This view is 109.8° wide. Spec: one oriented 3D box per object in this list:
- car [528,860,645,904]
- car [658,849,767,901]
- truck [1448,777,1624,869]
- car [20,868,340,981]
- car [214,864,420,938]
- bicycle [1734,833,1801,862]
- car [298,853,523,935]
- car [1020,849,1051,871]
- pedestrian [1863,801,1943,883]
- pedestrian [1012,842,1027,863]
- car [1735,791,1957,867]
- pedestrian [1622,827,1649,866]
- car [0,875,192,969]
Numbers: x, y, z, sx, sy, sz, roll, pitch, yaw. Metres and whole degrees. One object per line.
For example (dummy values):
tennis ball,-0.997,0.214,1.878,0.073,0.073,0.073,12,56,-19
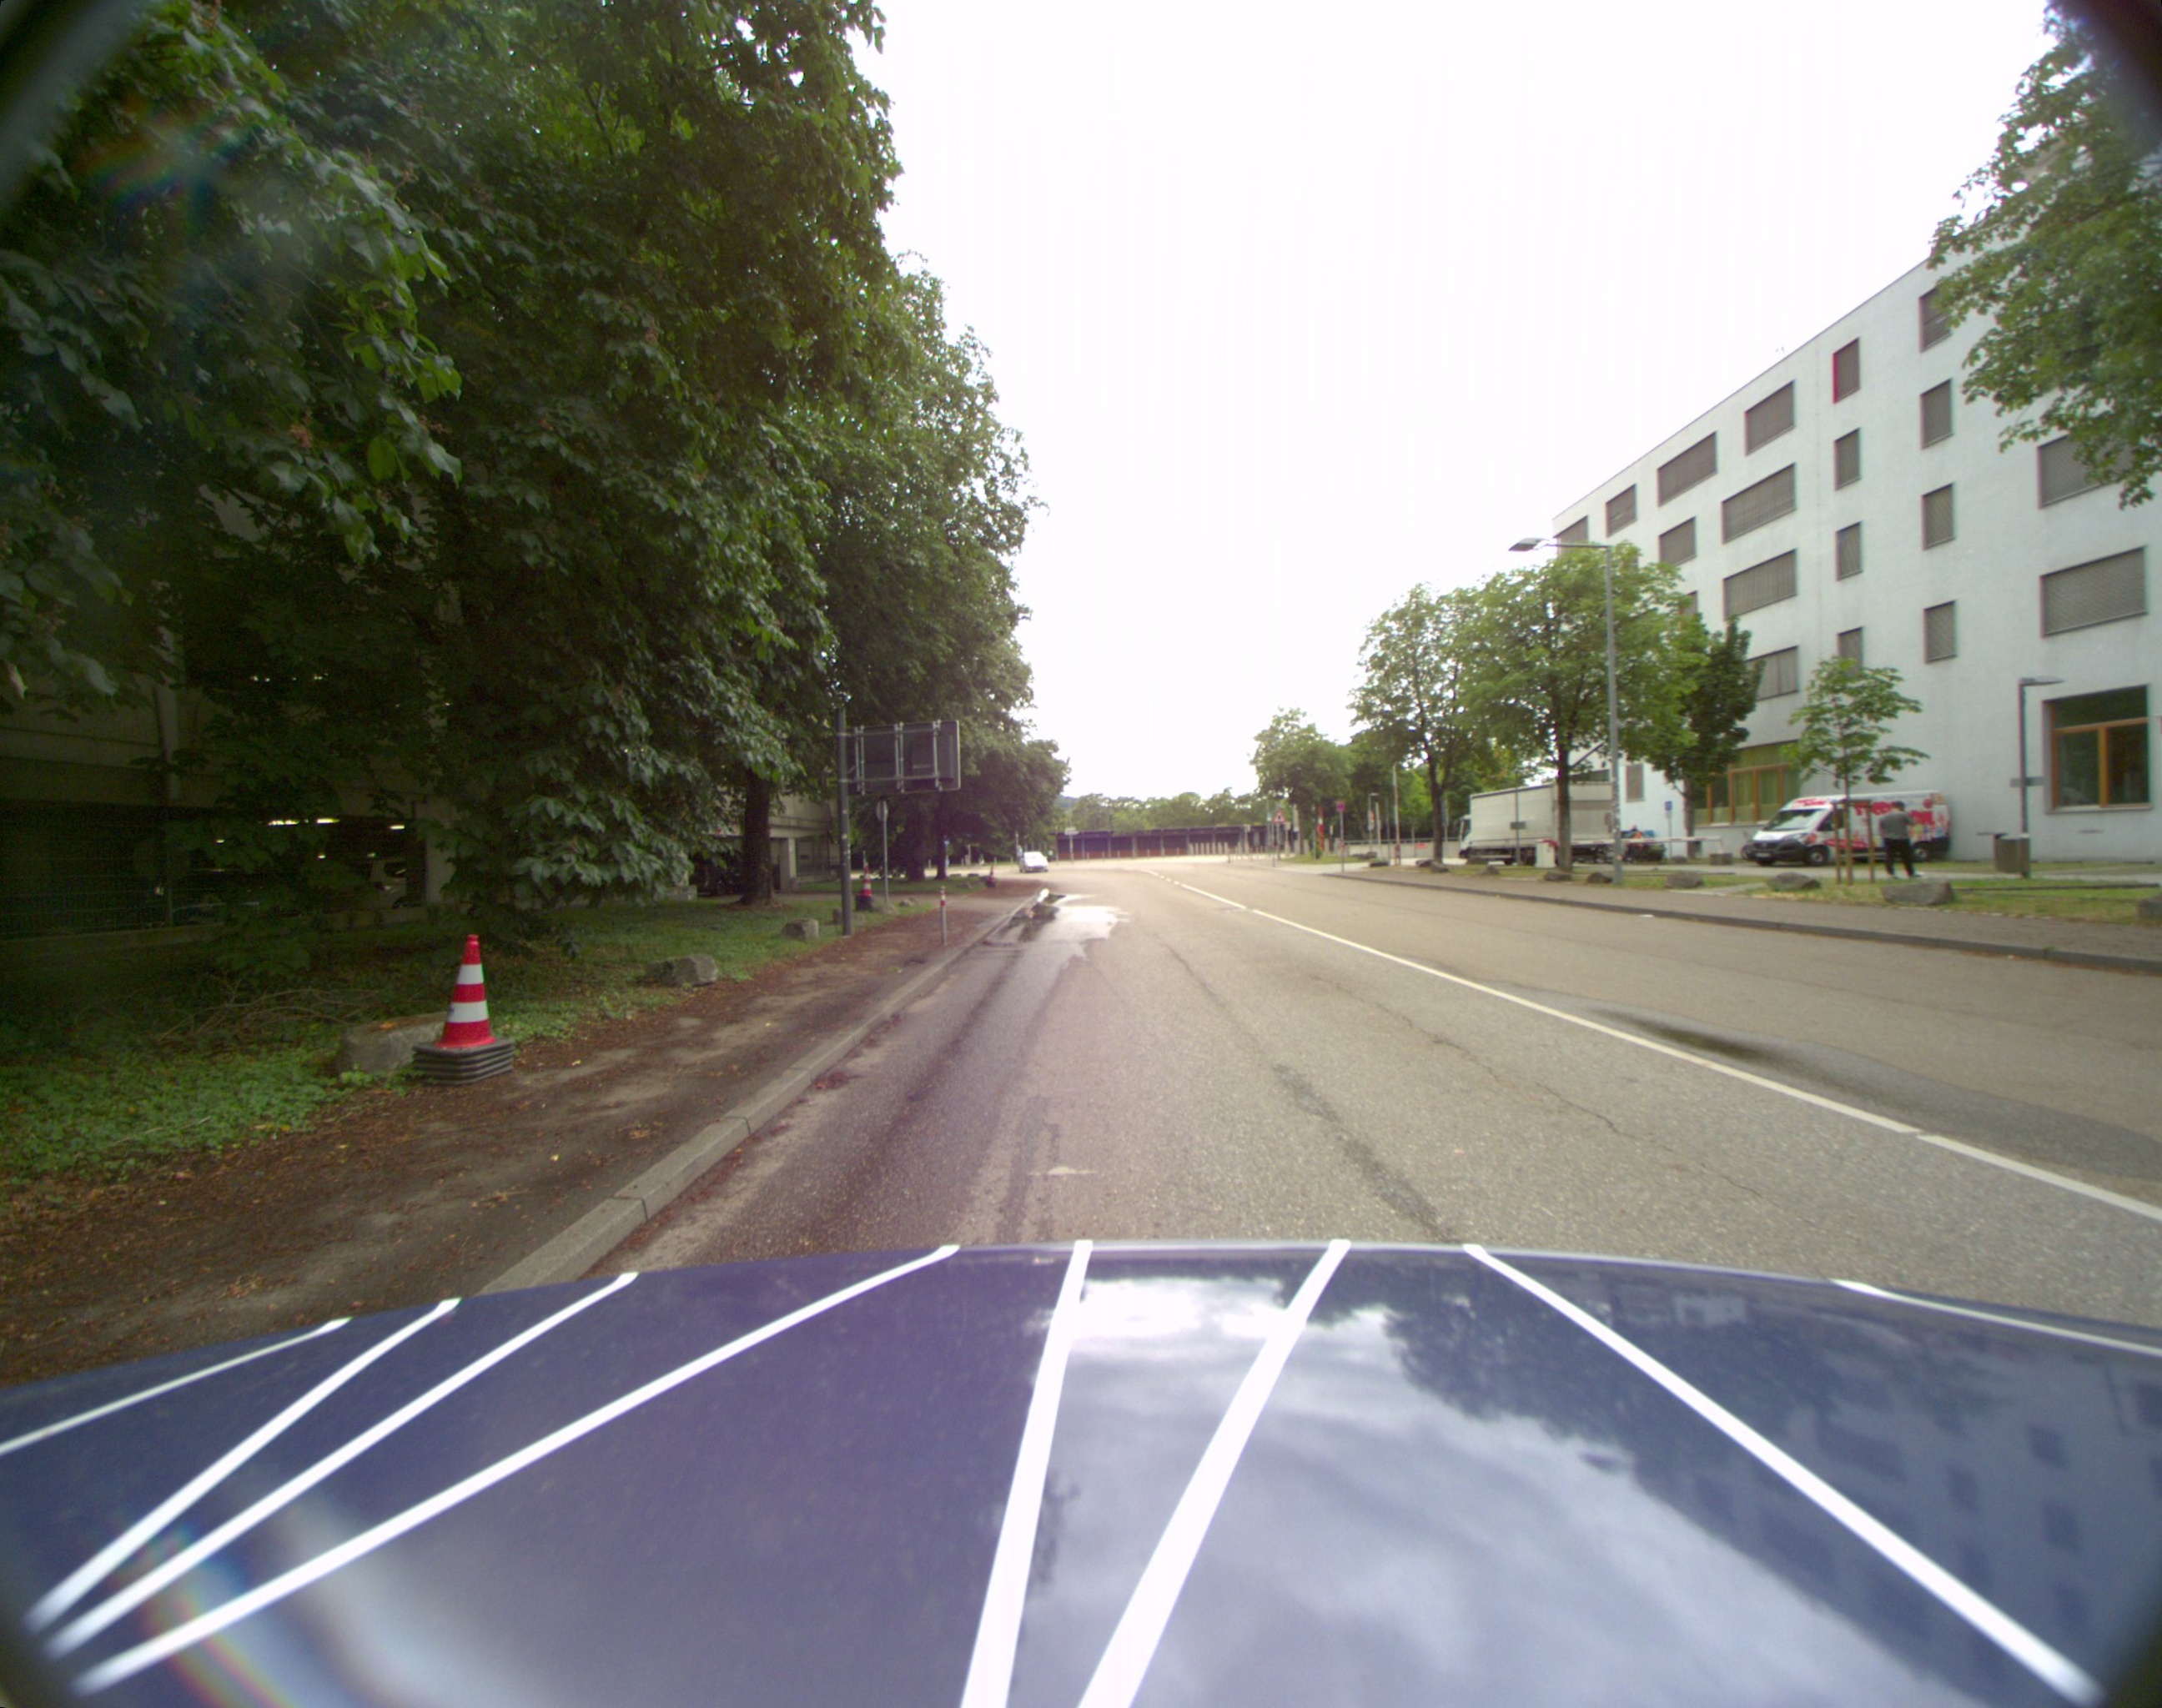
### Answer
car,-20.012,1.074,30.984,1.876,1.445,4.000,-3,2,4
car,-14.660,0.758,30.571,1.924,1.824,4.735,-3,1,0
truck,20.419,-1.350,34.868,2.684,3.580,8.361,-3,2,-2
car,-17.479,1.265,15.084,1.589,1.699,3.856,-3,2,1
car,-20.269,1.170,20.412,1.721,1.577,3.690,-3,2,-1
bicycle,27.615,-0.266,30.584,2.029,1.064,0.613,-3,2,4
car,-17.254,0.934,19.950,1.589,1.699,4.666,-3,2,1
car,-3.363,0.388,55.896,1.607,1.448,3.498,-3,2,-14
pedestrian,17.468,-0.266,16.160,0.845,1.662,0.786,-3,2,-5
pedestrian,-5.858,-0.150,72.236,1.200,1.824,0.927,-3,3,4
car,26.600,-0.871,26.566,5.640,2.266,2.078,-3,2,0
pedestrian,23.387,-0.314,32.043,0.885,1.597,0.680,-1,3,36
car,-20.377,1.322,14.767,1.721,1.537,3.700,-3,2,-1
